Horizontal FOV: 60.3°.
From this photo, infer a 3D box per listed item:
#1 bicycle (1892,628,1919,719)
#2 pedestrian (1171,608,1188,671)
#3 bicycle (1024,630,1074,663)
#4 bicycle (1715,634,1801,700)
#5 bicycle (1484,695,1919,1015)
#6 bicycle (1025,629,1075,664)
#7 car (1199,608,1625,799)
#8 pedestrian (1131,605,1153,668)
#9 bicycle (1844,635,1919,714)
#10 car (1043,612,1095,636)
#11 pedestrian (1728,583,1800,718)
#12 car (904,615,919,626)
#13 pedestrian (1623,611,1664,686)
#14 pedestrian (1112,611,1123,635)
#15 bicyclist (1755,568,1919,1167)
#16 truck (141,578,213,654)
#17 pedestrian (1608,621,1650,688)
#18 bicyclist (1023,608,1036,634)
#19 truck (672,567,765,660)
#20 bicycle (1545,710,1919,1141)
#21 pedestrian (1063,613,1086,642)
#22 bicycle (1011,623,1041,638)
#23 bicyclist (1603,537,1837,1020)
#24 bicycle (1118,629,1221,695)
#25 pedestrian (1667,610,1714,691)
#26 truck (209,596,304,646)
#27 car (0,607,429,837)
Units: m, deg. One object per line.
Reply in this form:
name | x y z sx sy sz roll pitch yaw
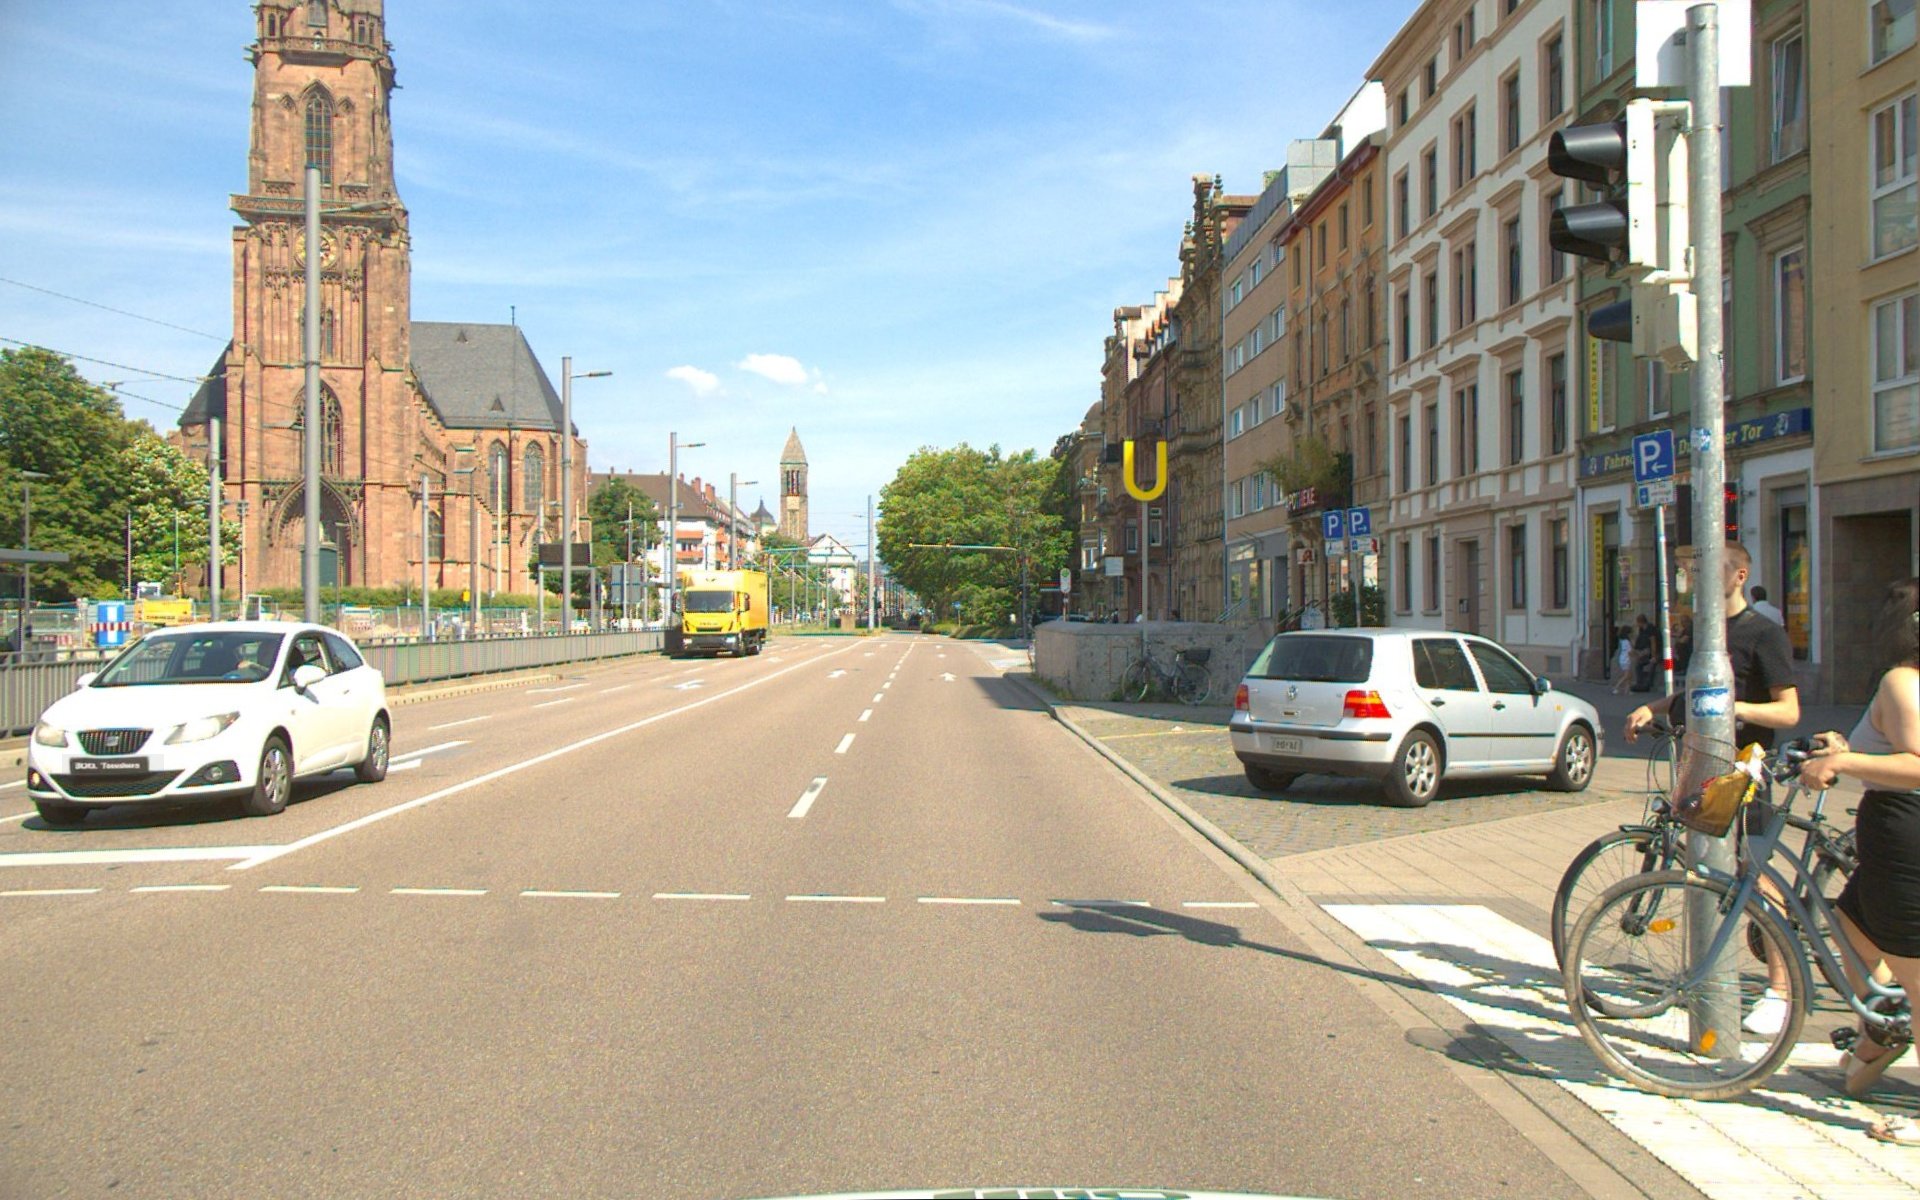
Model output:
bicycle | 12.315 0.914 20.331 0.570 1.114 1.819 -3 -1 -2
pedestrian | 5.987 1.065 45.083 0.363 1.695 0.525 0 -1 -1
bicycle | 2.623 1.364 48.741 1.431 0.963 0.415 0 -2 -2
bicycle | 12.711 1.045 26.403 0.404 0.981 1.779 -3 -1 -2
bicycle | 3.026 0.965 6.521 1.757 1.150 0.583 0 -1 -8
bicycle | 2.625 1.348 48.295 1.431 0.993 0.415 0 2 -2
car | 4.152 0.879 14.896 3.963 1.465 1.787 3 -1 -41
pedestrian | 4.978 0.998 45.223 0.541 1.695 0.525 0 -1 -1
bicycle | 12.717 0.984 22.280 0.570 0.981 1.779 -3 -1 -2
car | 8.464 1.859 128.261 3.905 1.780 2.001 0 2 0
pedestrian | 10.773 0.668 22.184 0.596 1.776 0.703 0 -1 -1
car | -6.340 2.680 215.837 1.861 1.400 3.812 -1 0 -4
pedestrian | 12.623 0.891 30.547 0.514 1.378 0.530 0 -1 -1
pedestrian | 9.544 1.376 100.288 0.522 1.431 0.490 -1 2 -7
bicyclist | 2.692 0.718 4.774 0.598 1.600 0.733 0 -1 16
truck | -38.982 0.801 82.482 2.979 3.631 5.999 0 -1 -23
pedestrian | 11.993 0.976 29.666 0.514 1.188 0.530 0 -1 -1
bicyclist | 4.243 1.287 101.234 0.629 1.619 0.481 0 1 -16
truck | -9.481 0.554 65.846 2.492 3.356 9.025 -3 -1 -2
bicycle | 2.729 0.947 5.030 1.753 1.150 0.755 0 -1 17
pedestrian | 5.268 1.261 76.036 0.928 1.348 0.822 0 -1 -4
bicycle | 4.030 1.878 101.183 1.789 0.878 0.481 0 2 -17
bicyclist | 2.916 0.656 6.385 0.604 1.765 0.583 0 -1 -7
bicycle | 3.621 1.071 28.679 1.707 1.113 0.597 0 0 -2
pedestrian | 12.857 0.878 29.109 0.514 1.398 0.646 0 -1 -1
truck | -39.666 1.195 93.382 4.307 2.725 2.386 -1 -1 3
car | -5.790 0.838 13.254 1.719 1.422 4.123 -4 0 -1
